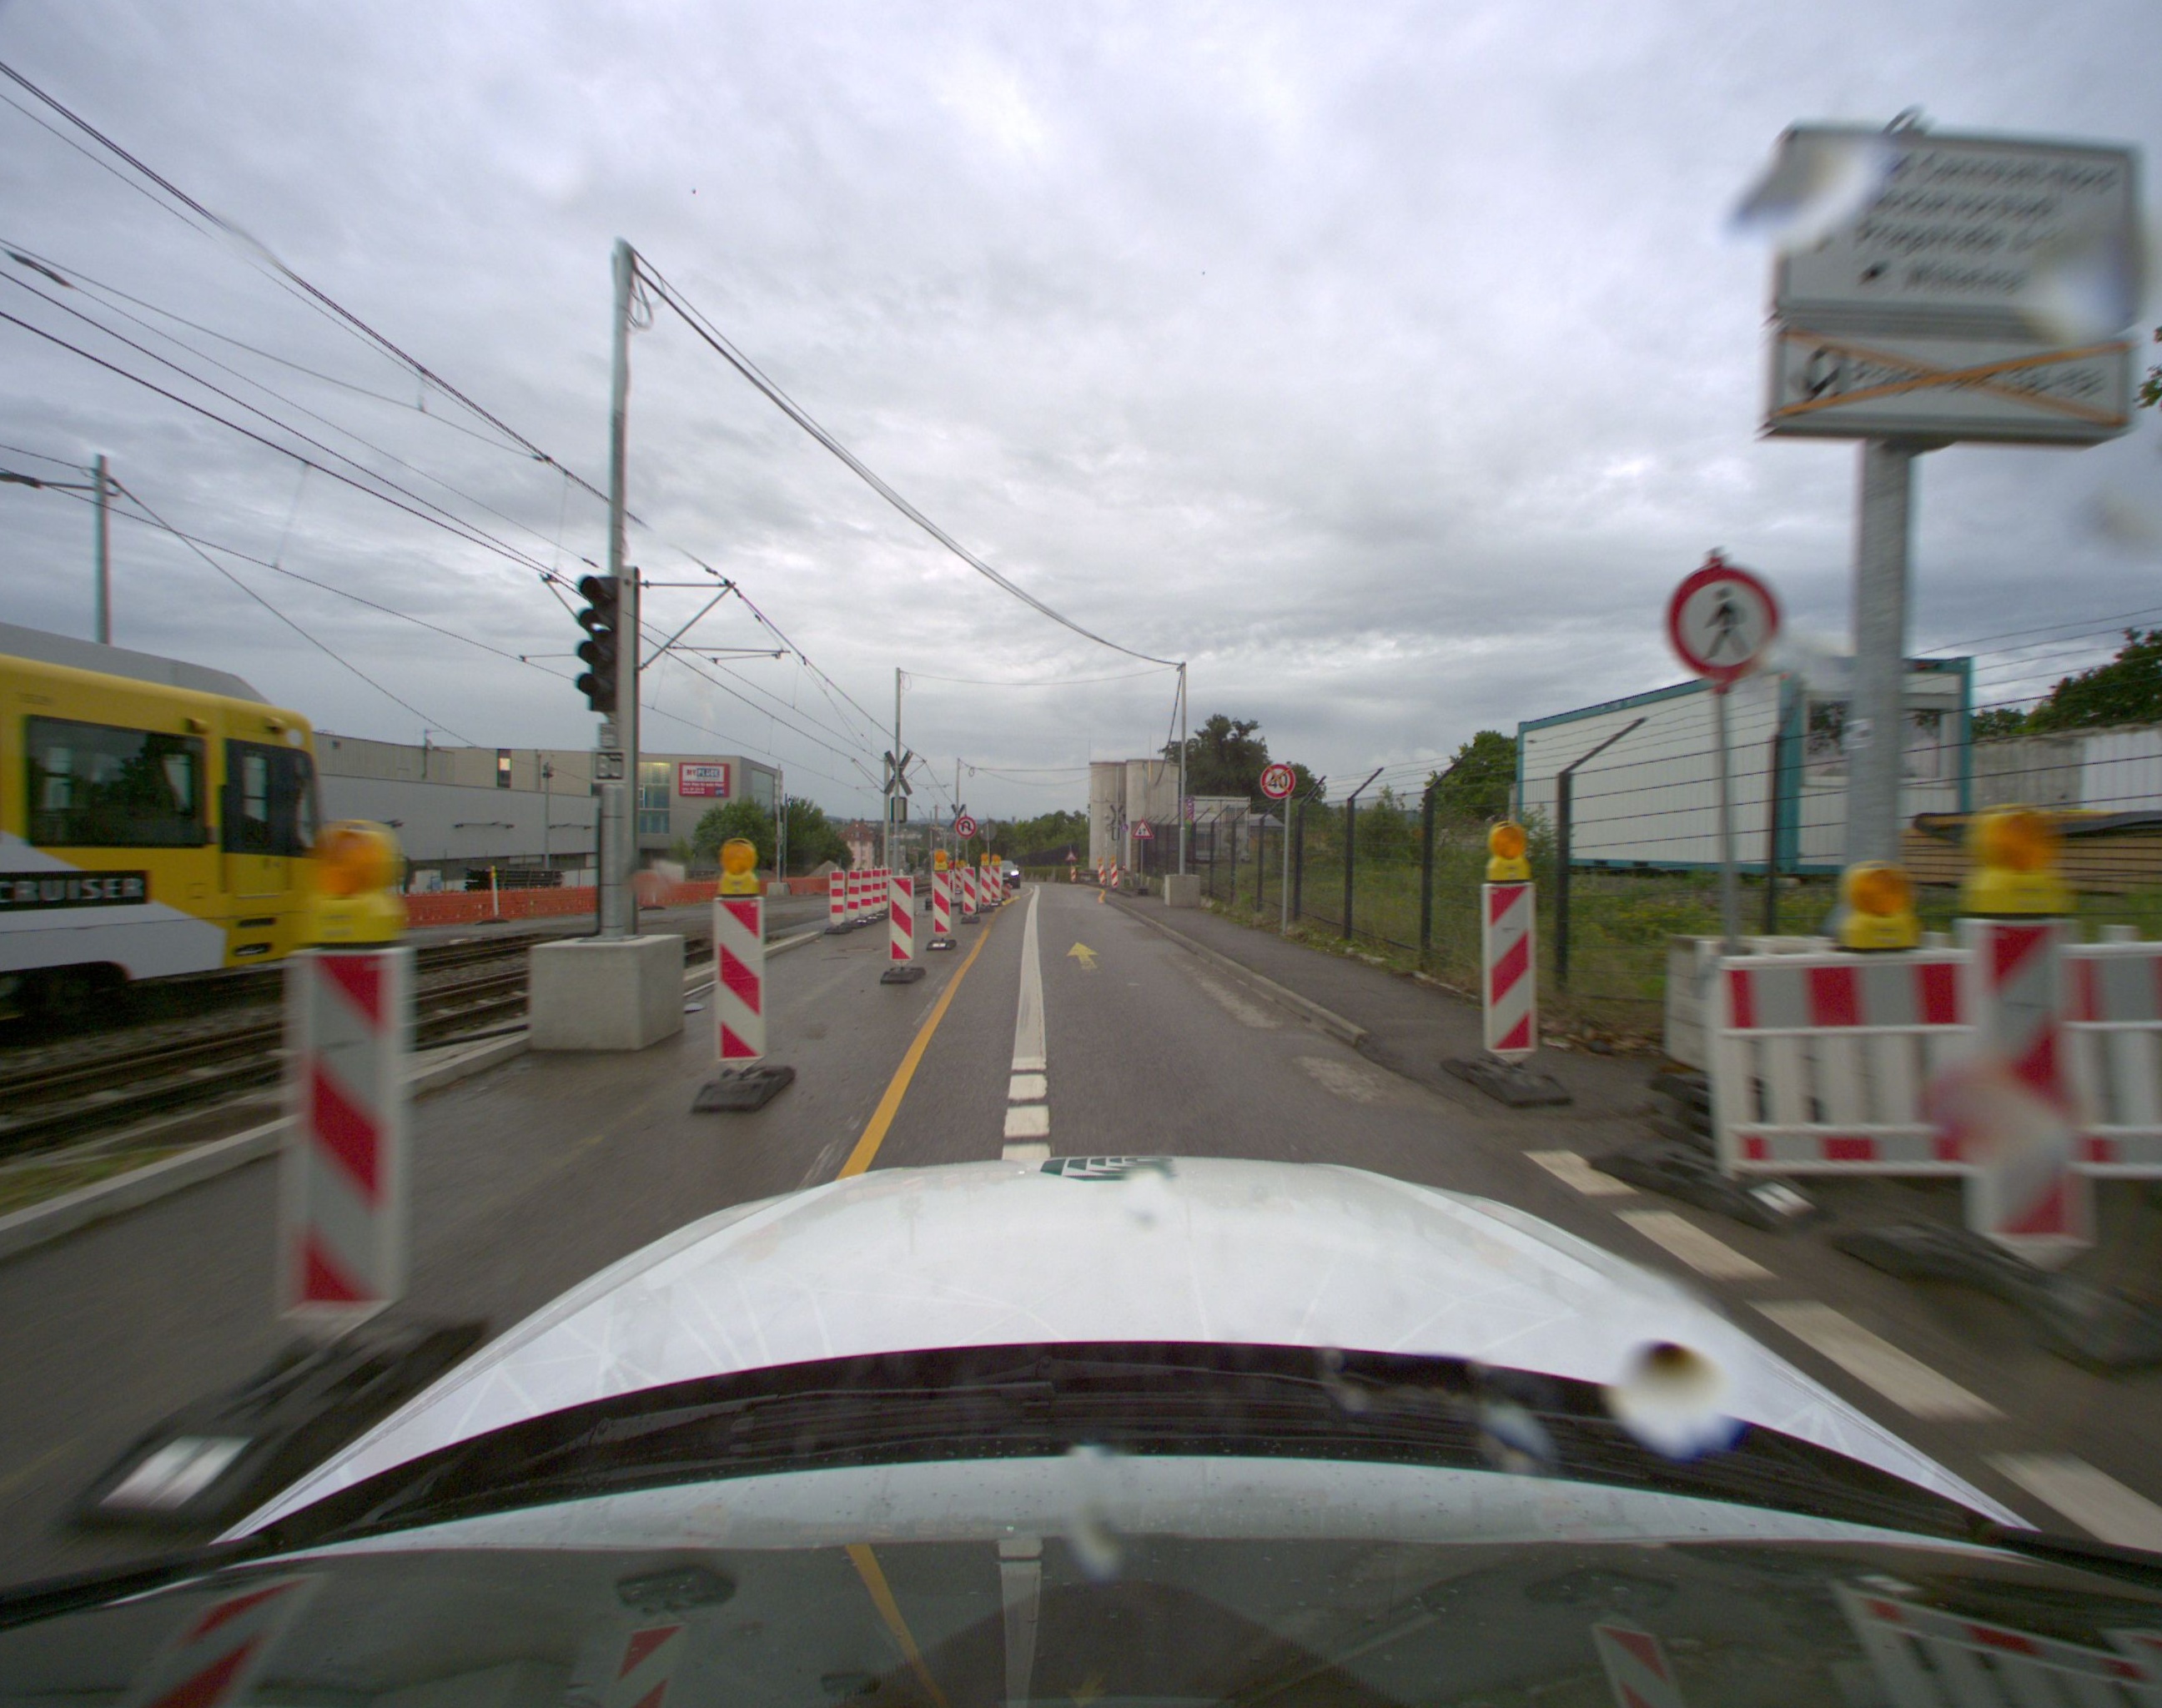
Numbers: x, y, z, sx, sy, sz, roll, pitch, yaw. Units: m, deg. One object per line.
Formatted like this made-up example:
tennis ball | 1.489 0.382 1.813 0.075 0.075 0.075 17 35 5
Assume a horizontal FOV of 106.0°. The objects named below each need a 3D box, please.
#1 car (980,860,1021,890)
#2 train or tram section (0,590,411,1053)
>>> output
car | -4.886 1.254 48.839 1.995 1.678 4.470 0 -1 -12
train or tram section | -10.531 -0.318 1.281 2.946 3.886 19.286 1 0 0
